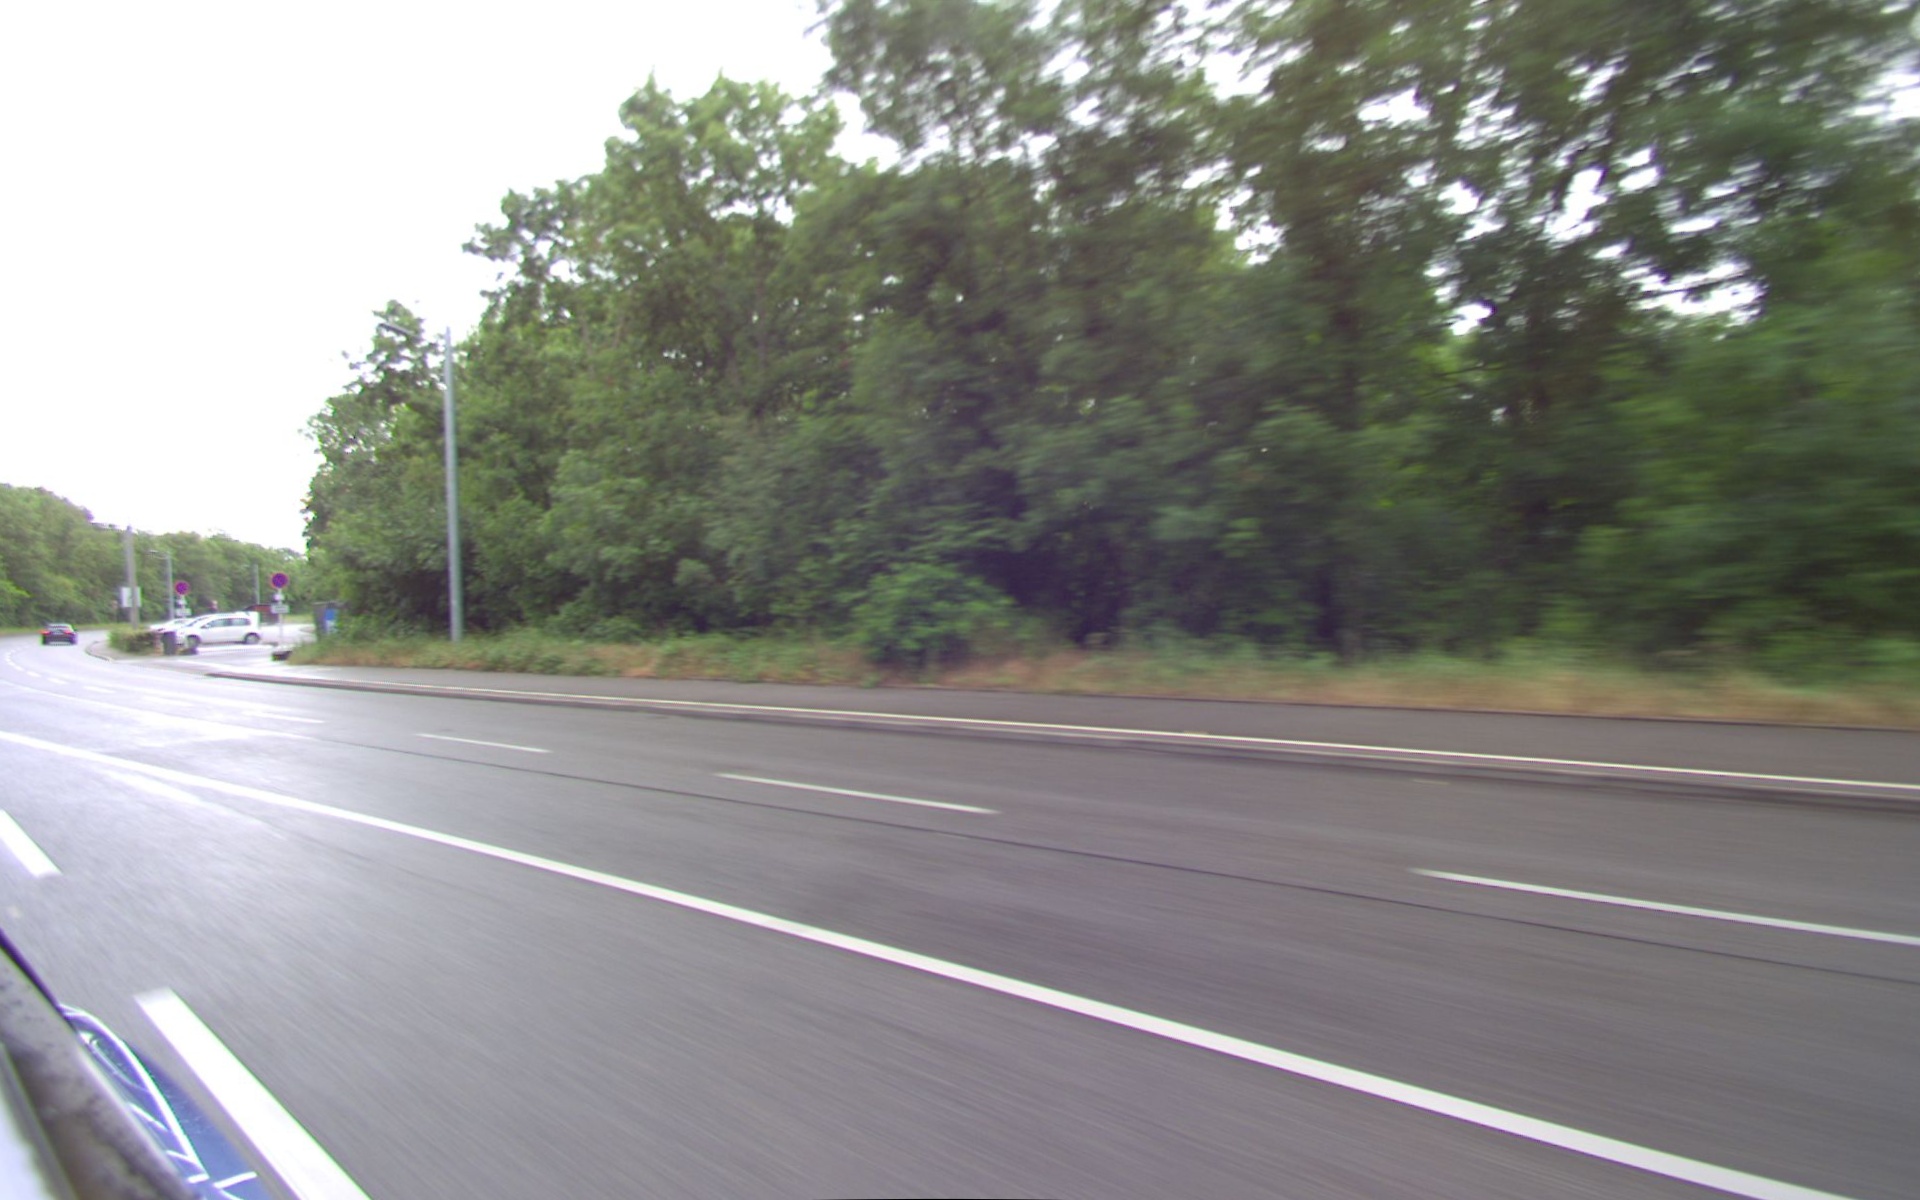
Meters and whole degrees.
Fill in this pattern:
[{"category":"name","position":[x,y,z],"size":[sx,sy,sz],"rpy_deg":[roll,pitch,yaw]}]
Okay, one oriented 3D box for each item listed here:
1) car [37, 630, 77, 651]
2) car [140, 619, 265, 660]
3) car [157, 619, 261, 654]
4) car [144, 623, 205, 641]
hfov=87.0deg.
[{"category":"car","position":[-64.422,2.872,72.227],"size":[1.828,1.484,3.921],"rpy_deg":[1,-2,-37]},{"category":"car","position":[-37.081,1.868,49.604],"size":[4.686,1.729,1.896],"rpy_deg":[-2,1,-44]},{"category":"car","position":[-40.294,1.930,54.353],"size":[4.317,1.613,1.758],"rpy_deg":[-2,1,-42]},{"category":"car","position":[-69.972,2.836,90.199],"size":[4.147,1.495,1.909],"rpy_deg":[0,-2,-44]}]
